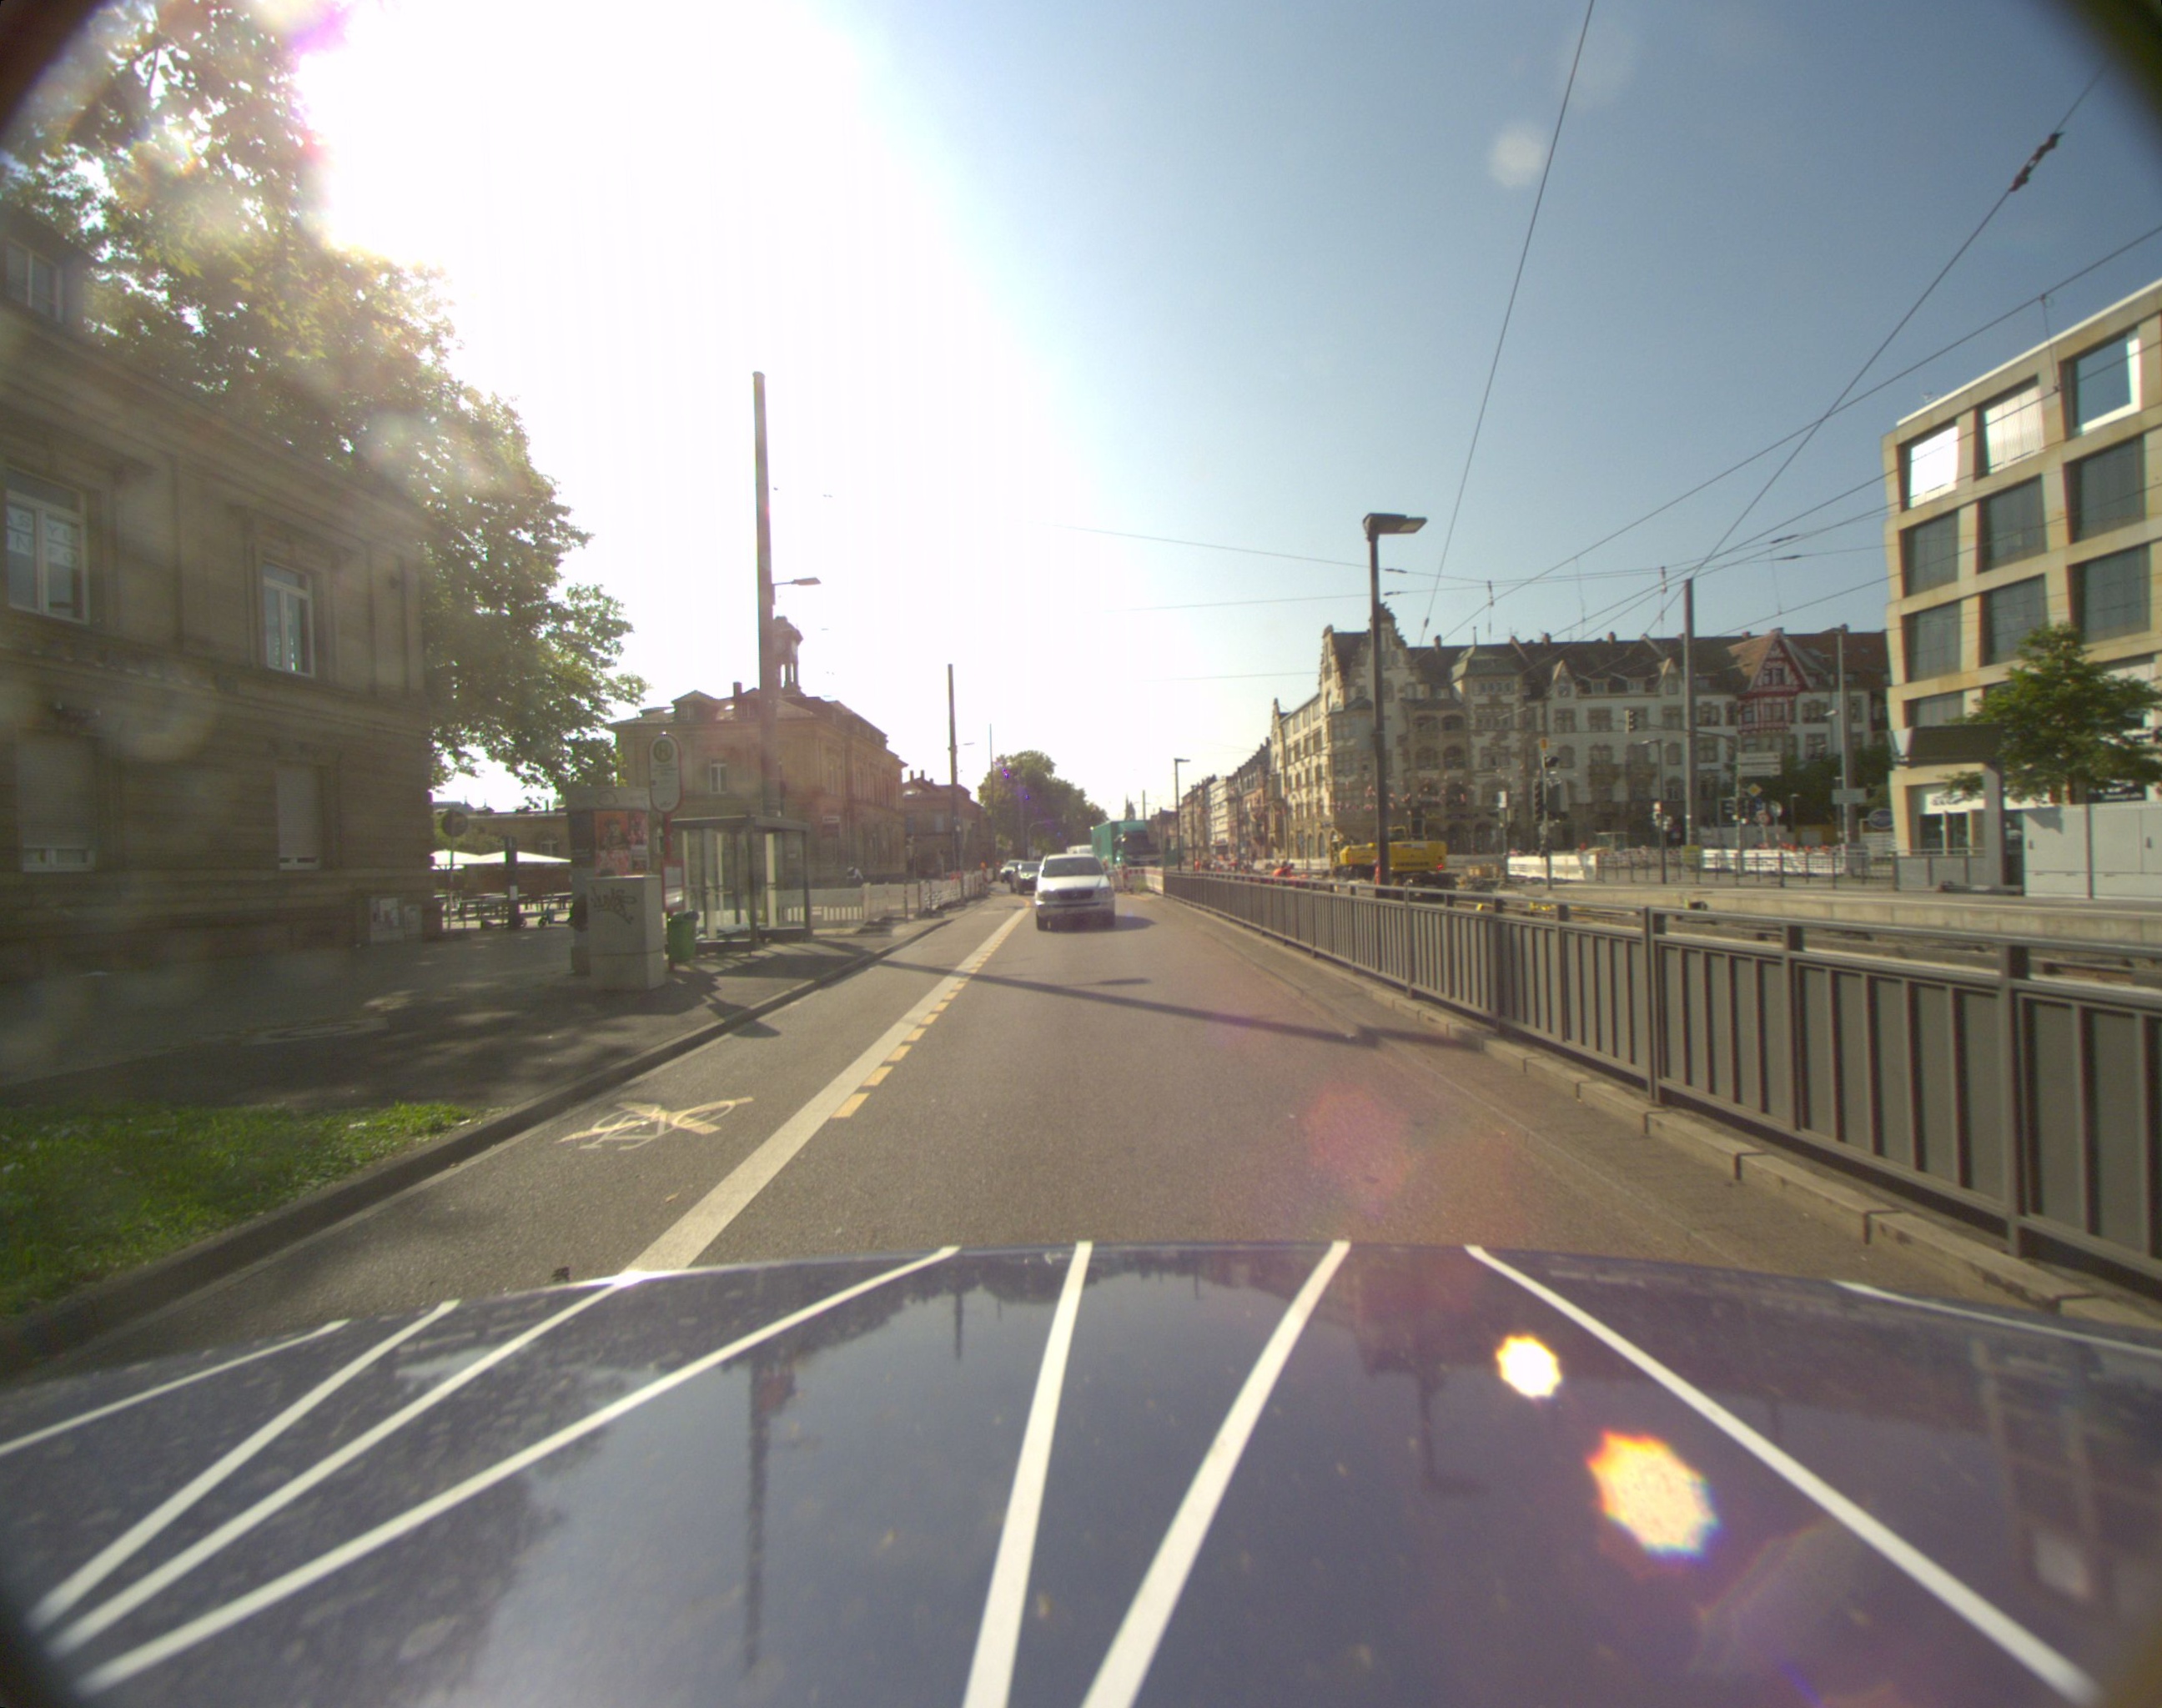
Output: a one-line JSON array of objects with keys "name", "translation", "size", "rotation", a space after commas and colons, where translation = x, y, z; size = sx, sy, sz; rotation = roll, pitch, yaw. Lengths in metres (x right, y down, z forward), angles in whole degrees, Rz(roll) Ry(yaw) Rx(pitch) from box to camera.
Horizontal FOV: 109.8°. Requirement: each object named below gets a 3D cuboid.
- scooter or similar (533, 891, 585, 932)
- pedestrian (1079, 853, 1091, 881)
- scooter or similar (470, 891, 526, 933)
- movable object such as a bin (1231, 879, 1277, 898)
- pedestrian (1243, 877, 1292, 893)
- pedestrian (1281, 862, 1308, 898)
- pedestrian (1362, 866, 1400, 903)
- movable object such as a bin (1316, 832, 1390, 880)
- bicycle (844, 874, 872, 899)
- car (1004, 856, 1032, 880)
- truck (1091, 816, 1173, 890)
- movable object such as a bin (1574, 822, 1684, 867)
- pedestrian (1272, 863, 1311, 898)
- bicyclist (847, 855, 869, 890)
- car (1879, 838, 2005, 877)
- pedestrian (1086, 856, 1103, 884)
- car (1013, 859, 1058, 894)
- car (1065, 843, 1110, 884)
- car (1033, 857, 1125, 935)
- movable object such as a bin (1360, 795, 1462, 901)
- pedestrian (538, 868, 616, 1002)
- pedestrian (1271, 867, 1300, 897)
[{"name": "scooter or similar", "translation": [-15.855, 1.730, 23.111], "size": [0.421, 1.202, 1.257], "rotation": [-2, -2, 23]}, {"name": "pedestrian", "translation": [0.294, 0.944, 55.531], "size": [0.735, 2.002, 0.907], "rotation": [-1, 0, 6]}, {"name": "scooter or similar", "translation": [-17.362, 1.708, 22.647], "size": [1.257, 1.202, 0.422], "rotation": [0, -2, -24]}, {"name": "movable object such as a bin", "translation": [6.361, 1.278, 27.920], "size": [1.507, 0.648, 0.702], "rotation": [-2, -1, 22]}, {"name": "pedestrian", "translation": [8.062, 1.327, 32.923], "size": [1.906, 0.632, 0.913], "rotation": [-2, -1, 4]}, {"name": "pedestrian", "translation": [7.980, 0.967, 28.377], "size": [0.838, 1.299, 0.800], "rotation": [-2, 0, 25]}, {"name": "pedestrian", "translation": [10.994, 1.109, 27.883], "size": [1.017, 1.299, 0.983], "rotation": [-2, 0, 4]}, {"name": "movable object such as a bin", "translation": [20.267, 0.156, 57.151], "size": [2.853, 3.310, 8.347], "rotation": [-1, 0, 2]}, {"name": "bicycle", "translation": [-10.091, 1.456, 34.445], "size": [0.719, 1.035, 1.903], "rotation": [-2, -1, -2]}, {"name": "car", "translation": [-4.971, 1.091, 59.354], "size": [2.000, 1.685, 5.223], "rotation": [-2, -1, -7]}, {"name": "truck", "translation": [2.628, 0.014, 42.307], "size": [2.683, 3.656, 8.208], "rotation": [-2, -1, -9]}, {"name": "movable object such as a bin", "translation": [35.892, -0.625, 49.900], "size": [5.627, 2.723, 2.135], "rotation": [-2, 0, 0]}, {"name": "pedestrian", "translation": [8.157, 1.020, 29.402], "size": [1.313, 1.299, 0.800], "rotation": [-2, 0, 25]}, {"name": "bicyclist", "translation": [-10.107, 0.848, 34.481], "size": [0.719, 1.534, 0.955], "rotation": [-2, 0, -2]}, {"name": "car", "translation": [48.959, 0.196, 43.267], "size": [5.115, 2.018, 1.817], "rotation": [-1, 0, -1]}, {"name": "pedestrian", "translation": [0.832, 1.007, 46.639], "size": [0.705, 1.684, 0.767], "rotation": [-2, 0, 37]}, {"name": "car", "translation": [-2.456, 1.168, 40.119], "size": [2.000, 1.685, 5.223], "rotation": [-2, -1, -7]}, {"name": "car", "translation": [0.396, 0.666, 54.314], "size": [2.232, 2.713, 5.166], "rotation": [-2, 0, -11]}, {"name": "car", "translation": [-0.129, 0.955, 19.531], "size": [1.999, 1.685, 5.225], "rotation": [-1, 0, -2]}, {"name": "movable object such as a bin", "translation": [14.512, -0.162, 33.301], "size": [3.507, 3.989, 9.057], "rotation": [-2, -1, 25]}, {"name": "pedestrian", "translation": [-6.634, 1.031, 10.025], "size": [0.690, 1.687, 0.647], "rotation": [-1, 0, -20]}, {"name": "pedestrian", "translation": [8.279, 1.129, 30.791], "size": [0.983, 1.183, 0.800], "rotation": [-2, 0, 25]}]
